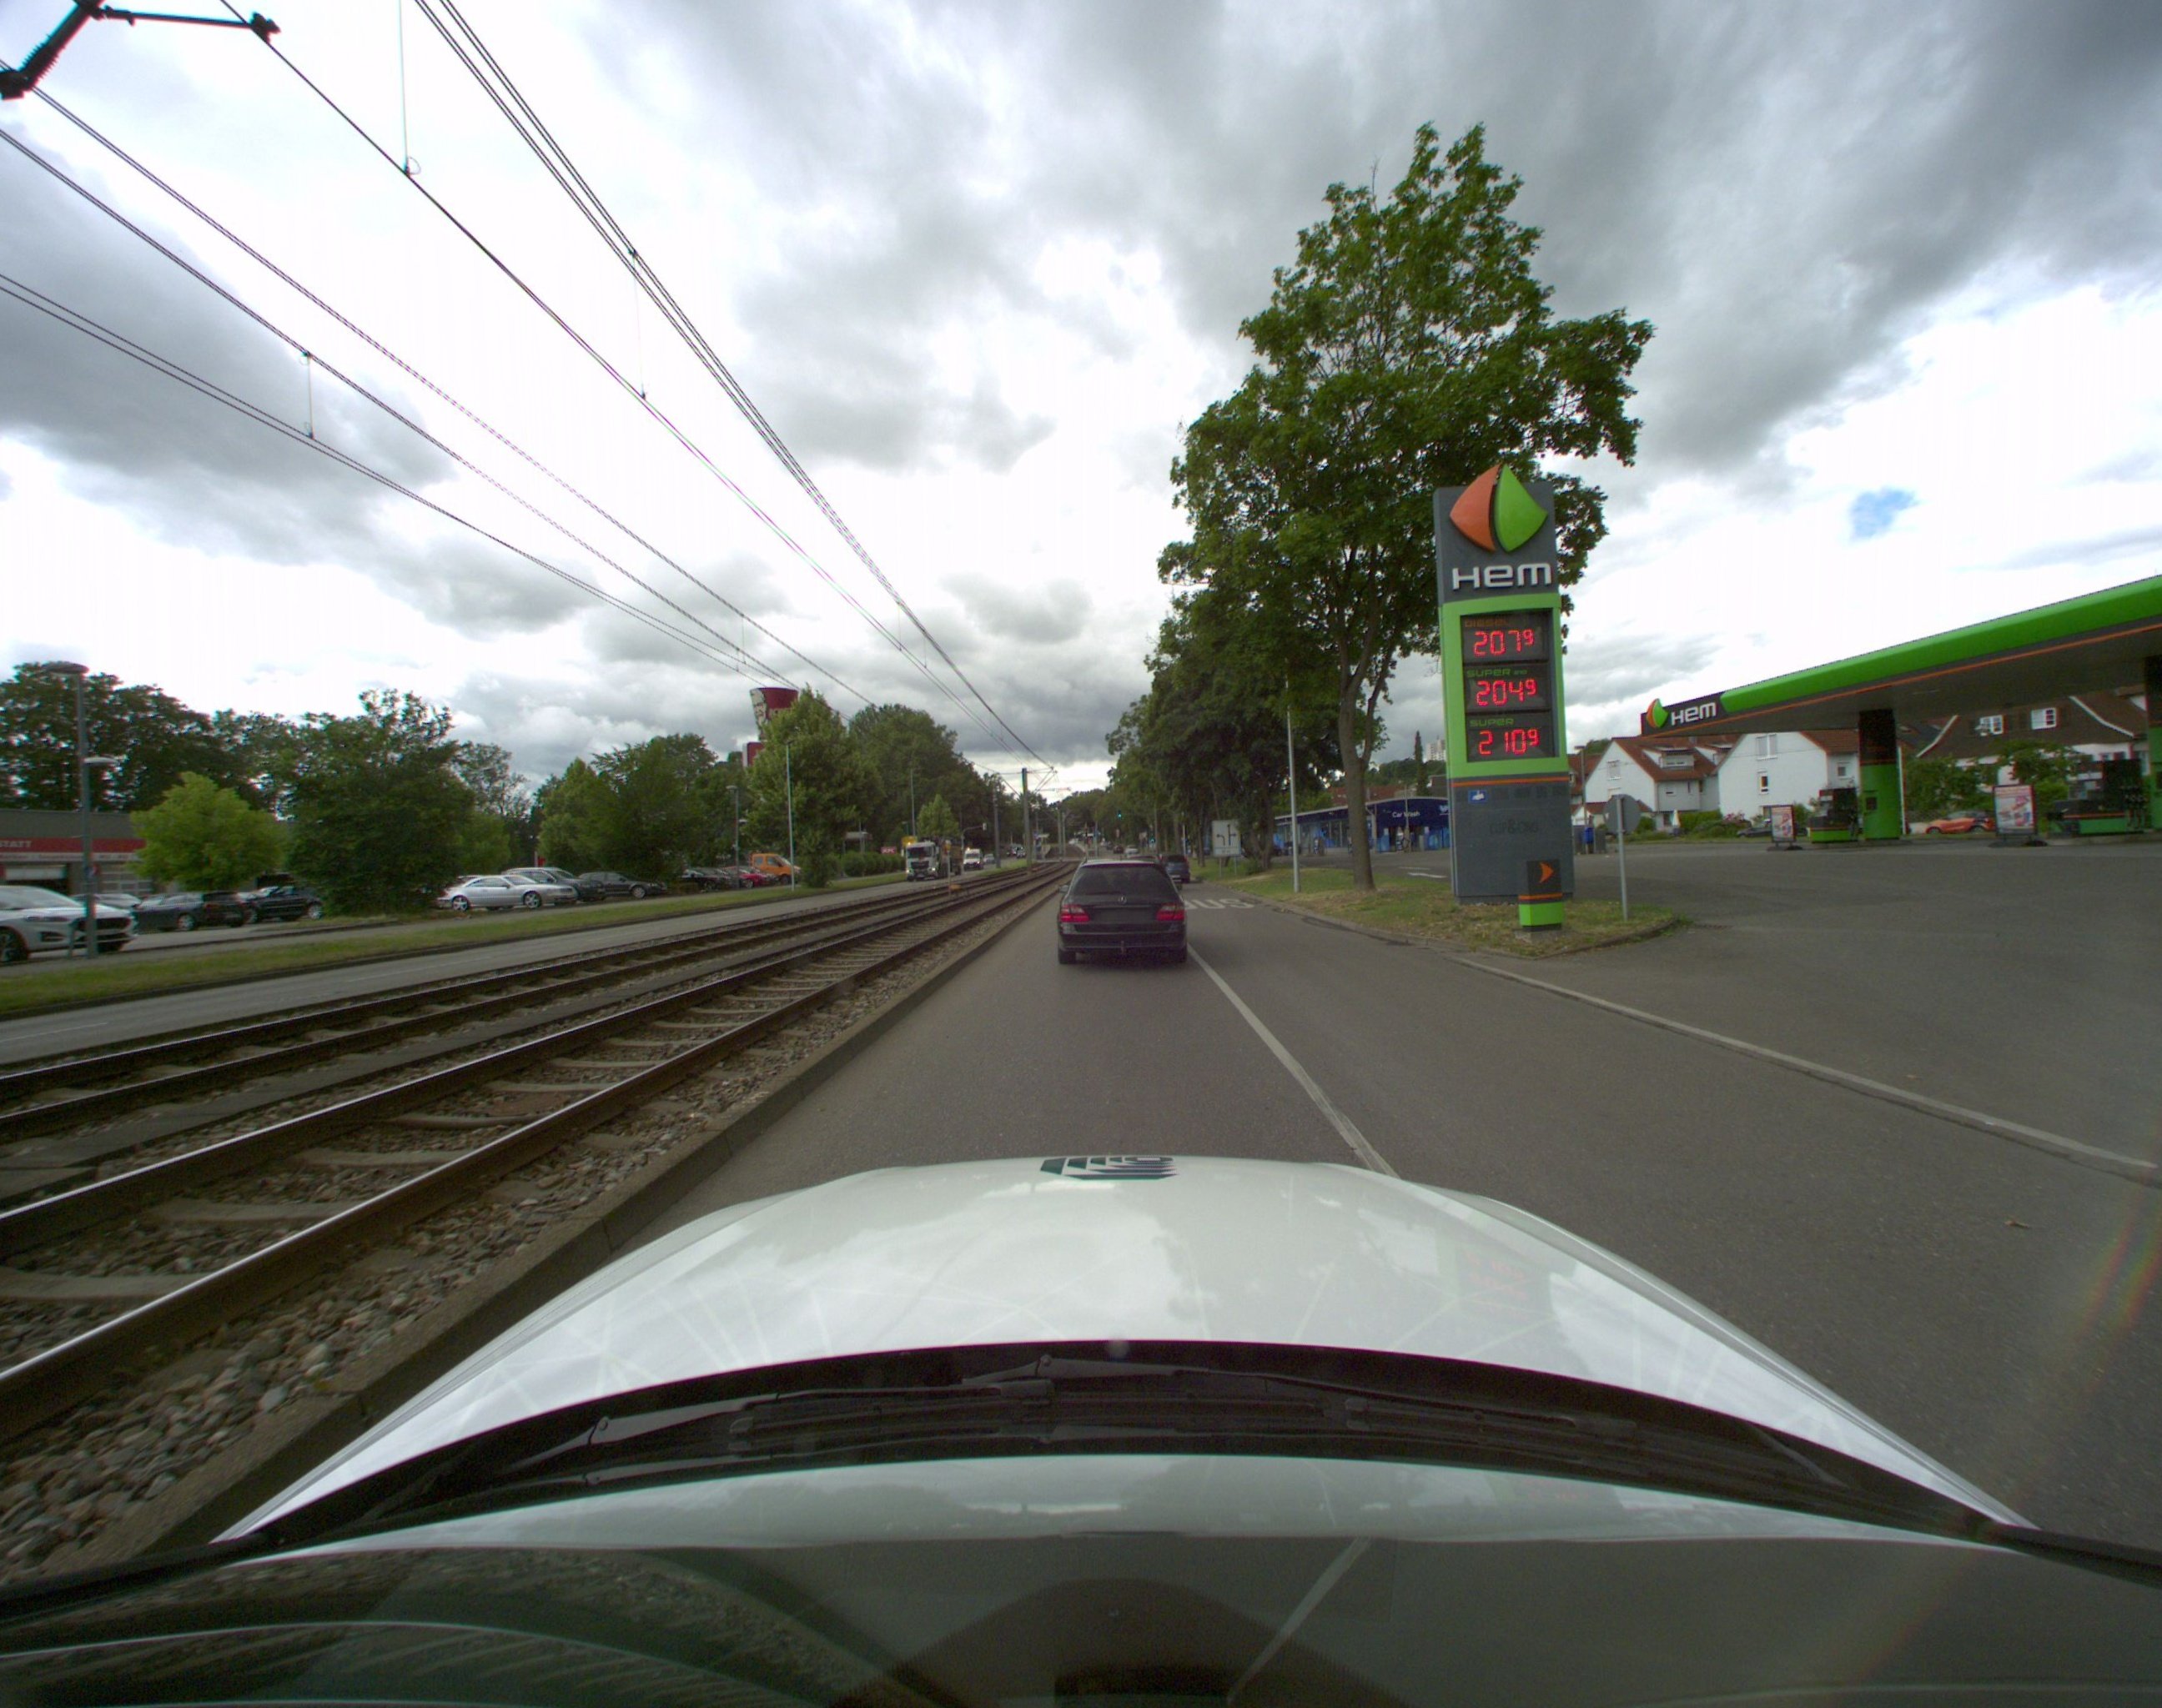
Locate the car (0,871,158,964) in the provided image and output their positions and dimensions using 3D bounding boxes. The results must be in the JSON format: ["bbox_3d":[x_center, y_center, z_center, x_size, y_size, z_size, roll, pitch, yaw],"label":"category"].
[{"bbox_3d":[-22.958,1.388,17.452,3.978,1.797,1.876,-3,0,-3],"label":"car"}]

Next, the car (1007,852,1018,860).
[{"bbox_3d":[-14.133,0.422,168.134,1.758,1.647,3.772,-1,0,2],"label":"car"}]

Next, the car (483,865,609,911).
[{"bbox_3d":[-22.621,1.421,34.544,3.978,1.635,1.876,-3,0,-3],"label":"car"}]

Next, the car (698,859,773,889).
[{"bbox_3d":[-22.192,1.257,52.402,3.978,1.797,1.876,-1,0,-3],"label":"car"}]

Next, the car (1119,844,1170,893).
[{"bbox_3d":[2.408,0.536,31.563,1.774,1.750,3.719,-1,0,2],"label":"car"}]

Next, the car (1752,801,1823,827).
[{"bbox_3d":[51.381,-2.877,59.344,1.683,1.684,4.002,-3,0,2],"label":"car"}]

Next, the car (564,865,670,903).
[{"bbox_3d":[-22.683,1.459,39.921,3.978,1.599,1.876,-3,0,-3],"label":"car"}]

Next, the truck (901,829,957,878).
[{"bbox_3d":[-12.701,-0.040,69.291,2.698,3.663,11.106,-3,0,-1],"label":"truck"}]

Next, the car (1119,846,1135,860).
[{"bbox_3d":[6.176,-0.119,108.936,1.986,1.838,4.001,-1,0,2],"label":"car"}]

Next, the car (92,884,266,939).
[{"bbox_3d":[-33.776,2.133,30.596,4.271,1.684,1.939,-3,0,0],"label":"car"}]

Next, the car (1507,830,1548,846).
[{"bbox_3d":[42.022,-1.528,76.752,1.581,1.394,3.406,-1,0,-10],"label":"car"}]

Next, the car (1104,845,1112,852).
[{"bbox_3d":[6.139,-1.228,184.470,1.662,1.532,3.768,-1,0,-2],"label":"car"}]

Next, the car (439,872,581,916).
[{"bbox_3d":[-22.517,1.547,32.223,4.294,1.472,1.680,-2,0,-1],"label":"car"}]

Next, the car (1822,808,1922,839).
[{"bbox_3d":[47.228,-1.790,48.737,1.755,1.689,3.986,-1,0,-10],"label":"car"}]

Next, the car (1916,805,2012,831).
[{"bbox_3d":[48.106,-1.927,44.460,1.416,1.264,3.323,-1,0,-10],"label":"car"}]

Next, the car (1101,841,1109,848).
[{"bbox_3d":[6.109,-2.357,207.363,1.986,1.714,4.002,-3,0,2],"label":"car"}]

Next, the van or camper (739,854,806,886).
[{"bbox_3d":[-21.692,1.087,57.428,3.978,2.135,1.876,-1,0,-3],"label":"van or camper"}]

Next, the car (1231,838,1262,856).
[{"bbox_3d":[17.043,-0.756,83.702,1.987,1.682,4.607,-3,0,26],"label":"car"}]

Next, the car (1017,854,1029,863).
[{"bbox_3d":[-10.561,0.865,147.961,1.758,1.647,3.772,-1,0,2],"label":"car"}]

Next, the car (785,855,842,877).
[{"bbox_3d":[-21.749,0.953,66.269,3.978,1.599,1.794,-3,0,-3],"label":"car"}]

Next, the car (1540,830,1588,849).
[{"bbox_3d":[42.455,-1.234,71.654,1.533,1.599,3.724,-1,0,-10],"label":"car"}]

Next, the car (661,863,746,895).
[{"bbox_3d":[-21.741,1.434,47.027,3.978,1.599,1.876,-3,0,-3],"label":"car"}]

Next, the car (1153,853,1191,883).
[{"bbox_3d":[4.443,0.654,39.984,1.565,1.414,3.355,-1,0,2],"label":"car"}]

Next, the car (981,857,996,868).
[{"bbox_3d":[-14.101,1.242,123.915,1.758,1.647,3.772,-1,0,2],"label":"car"}]

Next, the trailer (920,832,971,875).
[{"bbox_3d":[-12.874,-0.040,78.617,2.697,3.660,13.291,-3,0,-1],"label":"trailer"}]

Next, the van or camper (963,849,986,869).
[{"bbox_3d":[-12.971,0.589,99.293,1.987,2.354,5.764,-3,0,0],"label":"van or camper"}]

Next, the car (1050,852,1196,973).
[{"bbox_3d":[0.591,0.725,12.170,1.802,1.474,3.882,-1,0,2],"label":"car"}]
